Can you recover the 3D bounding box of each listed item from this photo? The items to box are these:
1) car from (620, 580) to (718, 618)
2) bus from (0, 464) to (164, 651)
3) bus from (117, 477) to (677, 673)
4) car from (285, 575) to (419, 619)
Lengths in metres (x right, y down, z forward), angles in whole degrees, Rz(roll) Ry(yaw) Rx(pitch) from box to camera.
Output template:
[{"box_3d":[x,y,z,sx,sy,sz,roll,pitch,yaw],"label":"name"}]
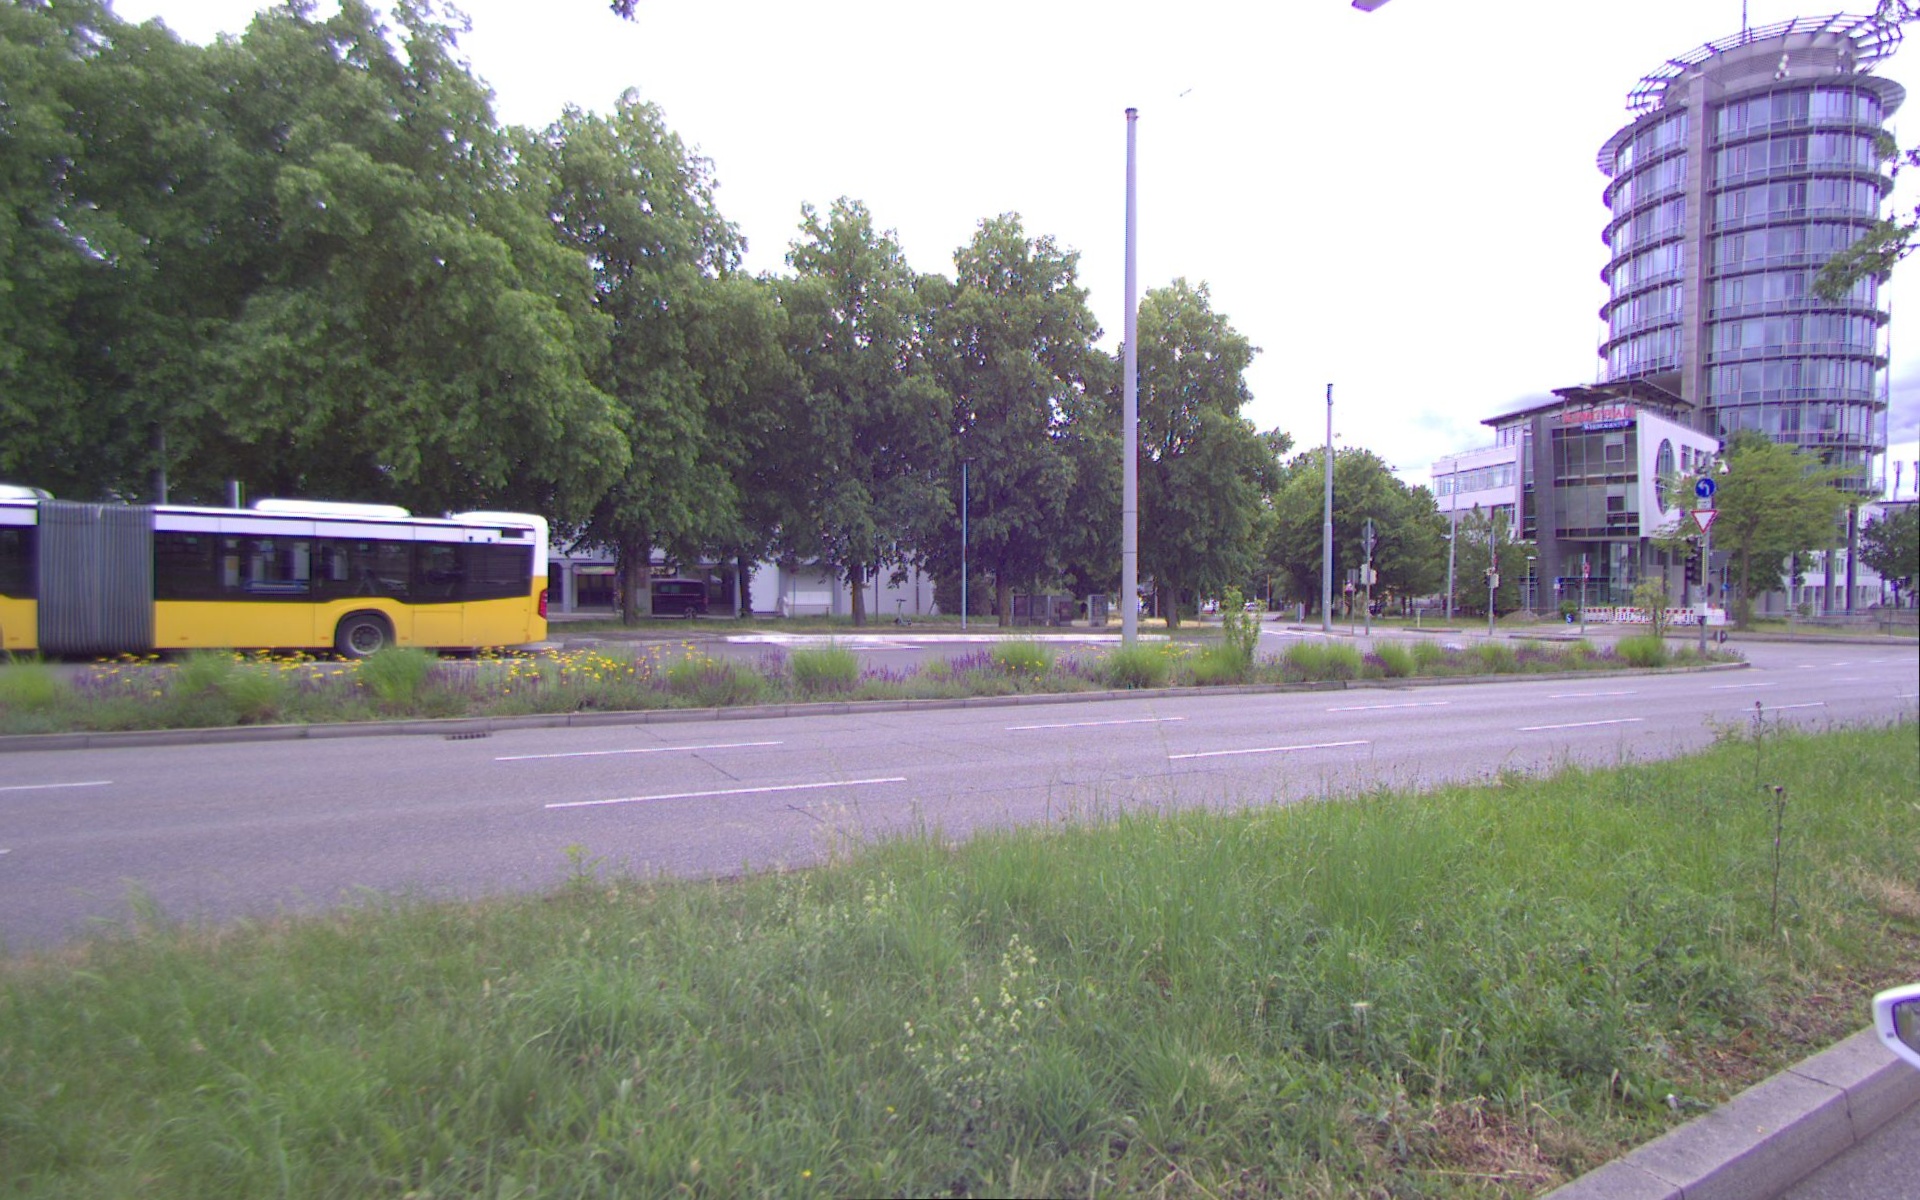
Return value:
[{"box_3d":[-14.876,-0.039,51.532,4.737,1.857,1.993,1,0,-16],"label":"car"},{"box_3d":[-20.454,-0.786,16.889,10.597,3.205,3.073,1,0,-27],"label":"bus"},{"box_3d":[-11.332,-0.445,21.506,9.781,3.502,3.020,1,2,-27],"label":"bus"},{"box_3d":[-23.156,-0.084,38.447,4.191,1.602,1.987,1,0,-26],"label":"car"}]
